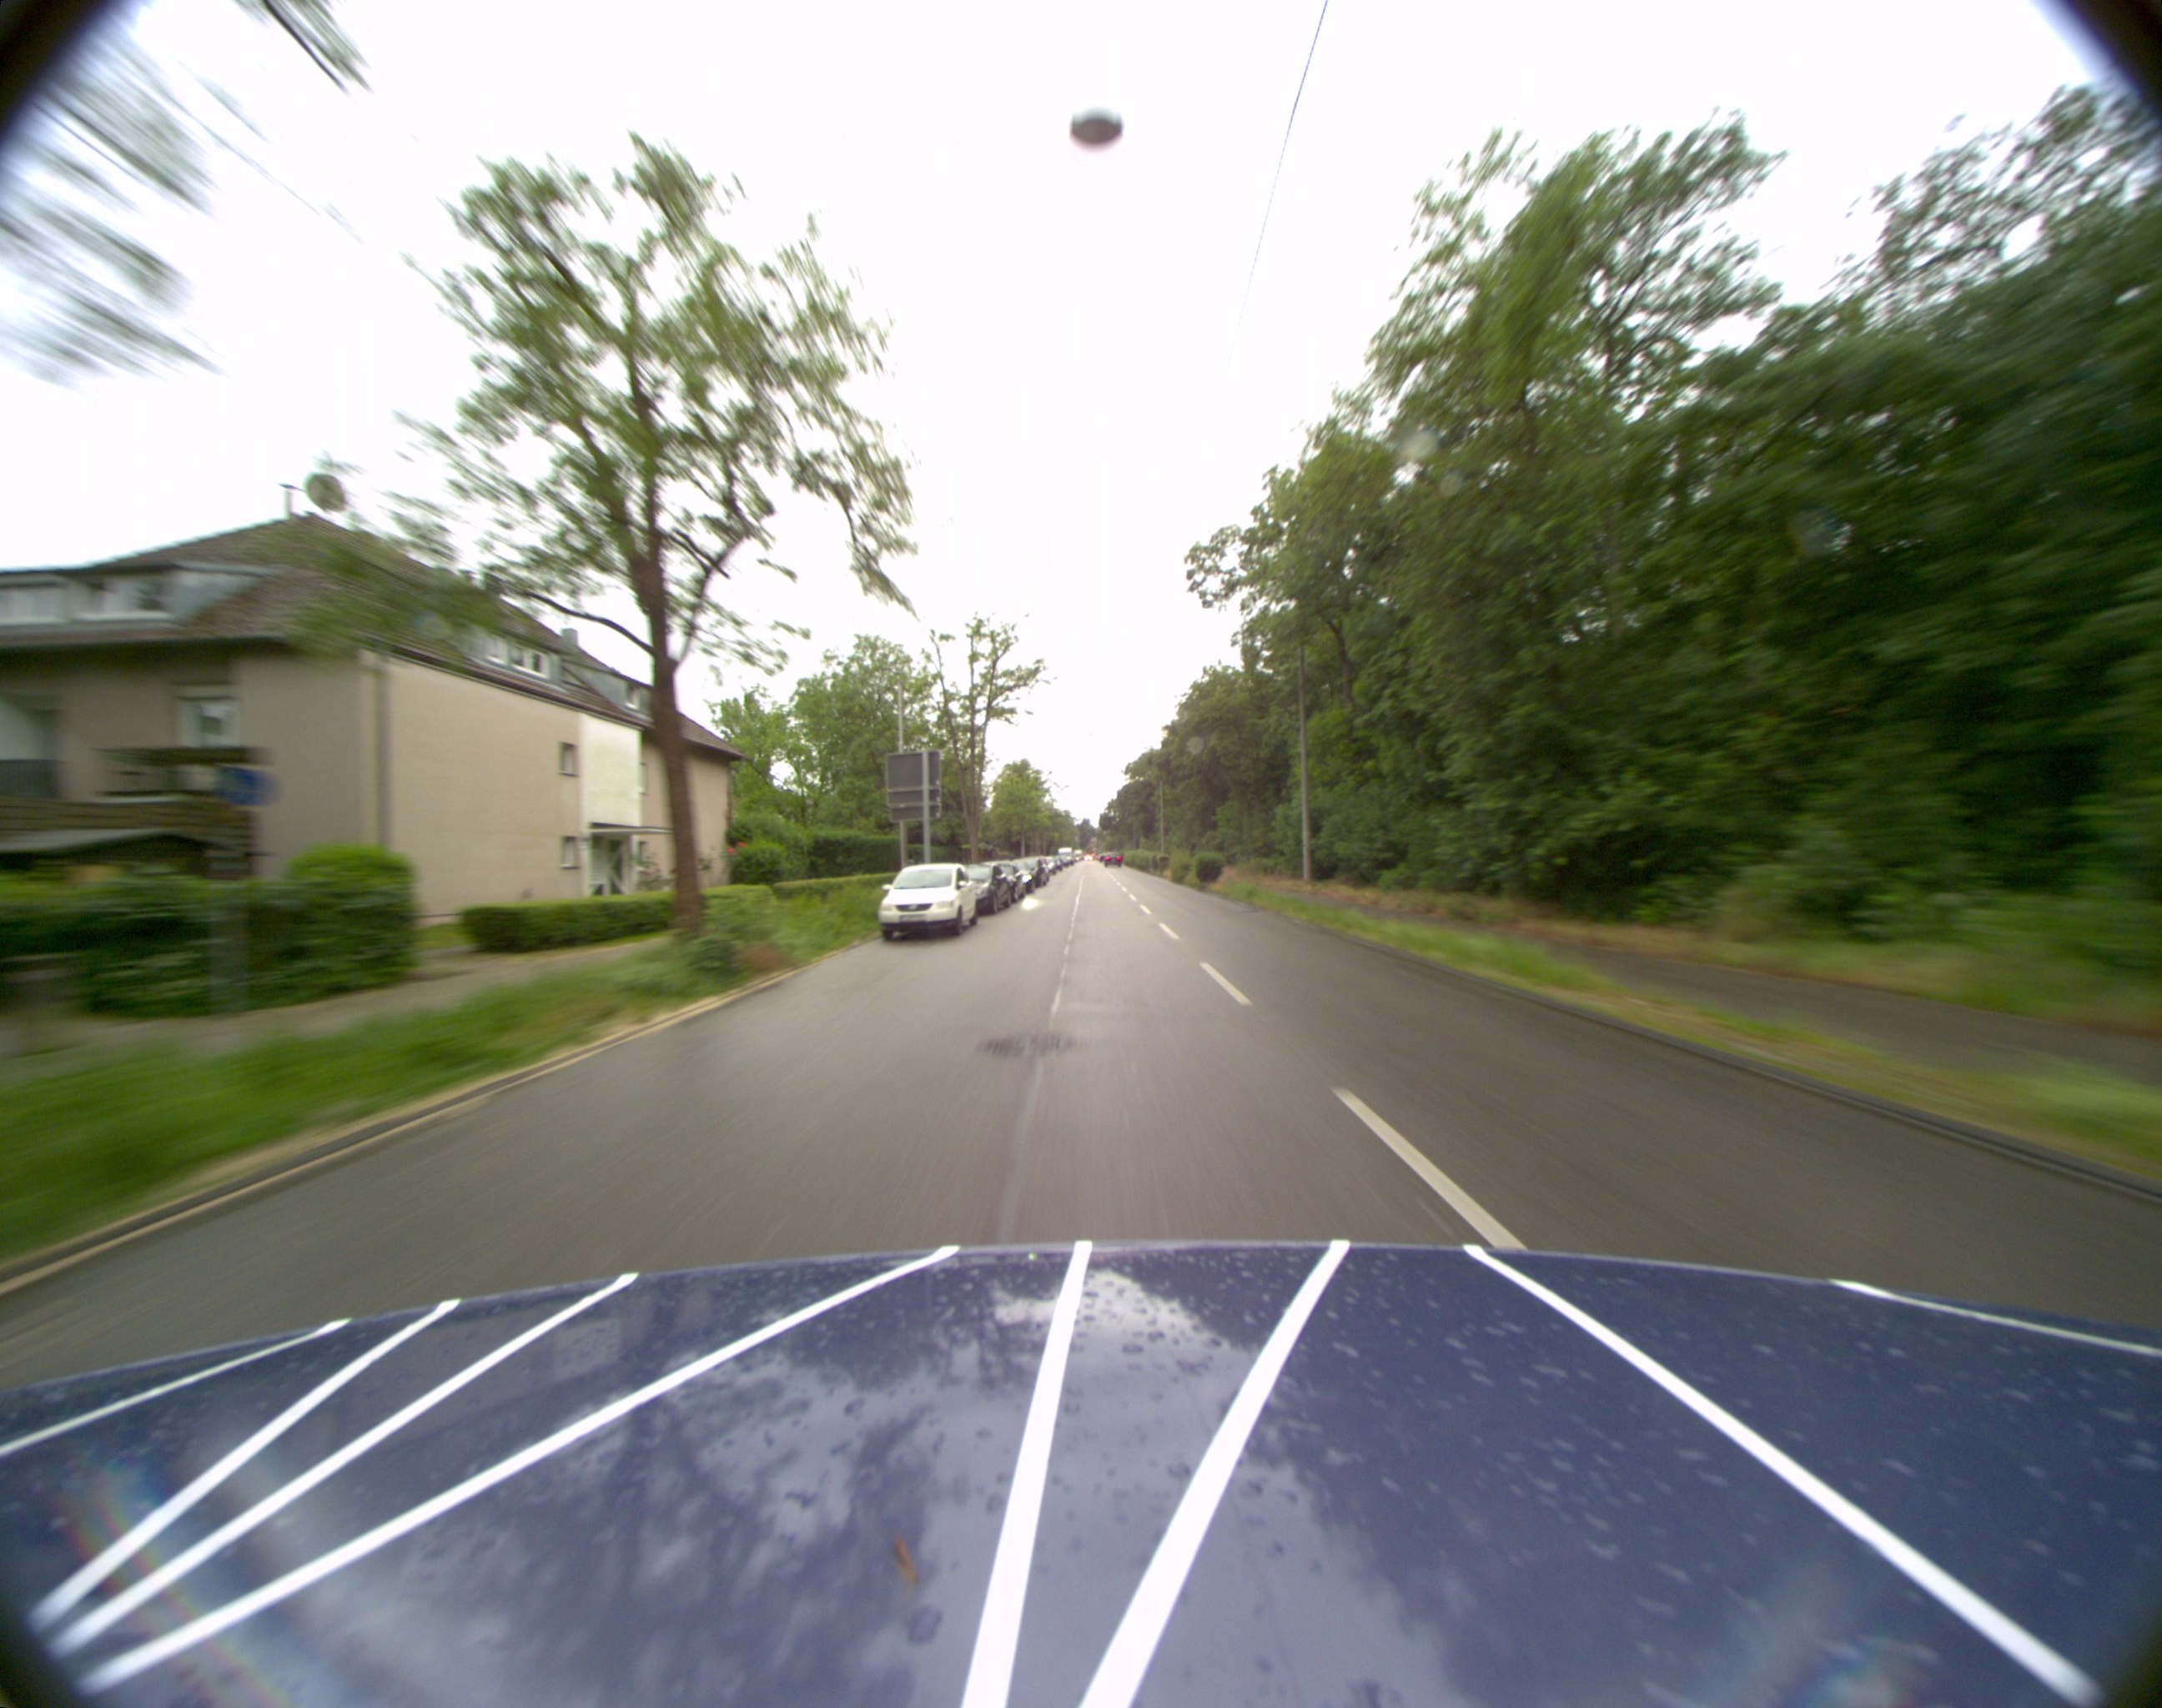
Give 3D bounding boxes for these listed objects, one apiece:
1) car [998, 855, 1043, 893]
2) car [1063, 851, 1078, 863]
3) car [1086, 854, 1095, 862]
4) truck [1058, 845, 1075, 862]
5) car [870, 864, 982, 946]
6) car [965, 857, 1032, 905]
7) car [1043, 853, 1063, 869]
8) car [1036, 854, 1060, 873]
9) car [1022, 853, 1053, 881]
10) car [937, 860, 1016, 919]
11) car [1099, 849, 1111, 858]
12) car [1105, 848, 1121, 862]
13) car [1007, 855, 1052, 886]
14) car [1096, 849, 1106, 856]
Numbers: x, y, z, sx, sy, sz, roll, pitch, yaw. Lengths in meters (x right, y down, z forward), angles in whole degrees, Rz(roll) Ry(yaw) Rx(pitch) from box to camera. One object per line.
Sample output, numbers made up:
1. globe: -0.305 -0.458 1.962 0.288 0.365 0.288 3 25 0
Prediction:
1. car: -2.664 0.846 34.225 1.621 1.459 4.410 -3 0 0
2. car: -1.314 0.322 95.045 1.789 1.452 3.999 0 1 -1
3. car: 2.382 0.984 187.976 1.998 2.002 4.000 -2 1 2
4. truck: -2.050 -0.122 108.143 2.230 2.322 5.113 0 1 0
5. car: -3.295 1.036 16.820 1.575 1.463 3.765 -3 0 1
6. car: -2.957 0.925 28.203 1.757 1.517 4.823 -3 0 1
7. car: -2.738 0.685 74.932 1.675 1.420 3.699 -2 1 1
8. car: -2.614 0.730 61.537 1.675 1.420 3.699 -2 1 1
9. car: -2.584 0.758 45.448 1.601 1.508 2.801 -2 1 0
10. car: -3.007 0.995 22.677 1.621 1.462 3.944 -3 0 2
11. car: 4.214 -0.161 132.107 1.851 1.490 3.999 0 1 -1
12. car: 3.726 0.119 88.864 1.680 1.608 4.061 0 1 0
13. car: -2.622 0.834 39.410 1.732 1.402 4.001 -3 0 4
14. car: 4.151 -0.361 159.820 1.998 1.543 3.999 0 1 0
